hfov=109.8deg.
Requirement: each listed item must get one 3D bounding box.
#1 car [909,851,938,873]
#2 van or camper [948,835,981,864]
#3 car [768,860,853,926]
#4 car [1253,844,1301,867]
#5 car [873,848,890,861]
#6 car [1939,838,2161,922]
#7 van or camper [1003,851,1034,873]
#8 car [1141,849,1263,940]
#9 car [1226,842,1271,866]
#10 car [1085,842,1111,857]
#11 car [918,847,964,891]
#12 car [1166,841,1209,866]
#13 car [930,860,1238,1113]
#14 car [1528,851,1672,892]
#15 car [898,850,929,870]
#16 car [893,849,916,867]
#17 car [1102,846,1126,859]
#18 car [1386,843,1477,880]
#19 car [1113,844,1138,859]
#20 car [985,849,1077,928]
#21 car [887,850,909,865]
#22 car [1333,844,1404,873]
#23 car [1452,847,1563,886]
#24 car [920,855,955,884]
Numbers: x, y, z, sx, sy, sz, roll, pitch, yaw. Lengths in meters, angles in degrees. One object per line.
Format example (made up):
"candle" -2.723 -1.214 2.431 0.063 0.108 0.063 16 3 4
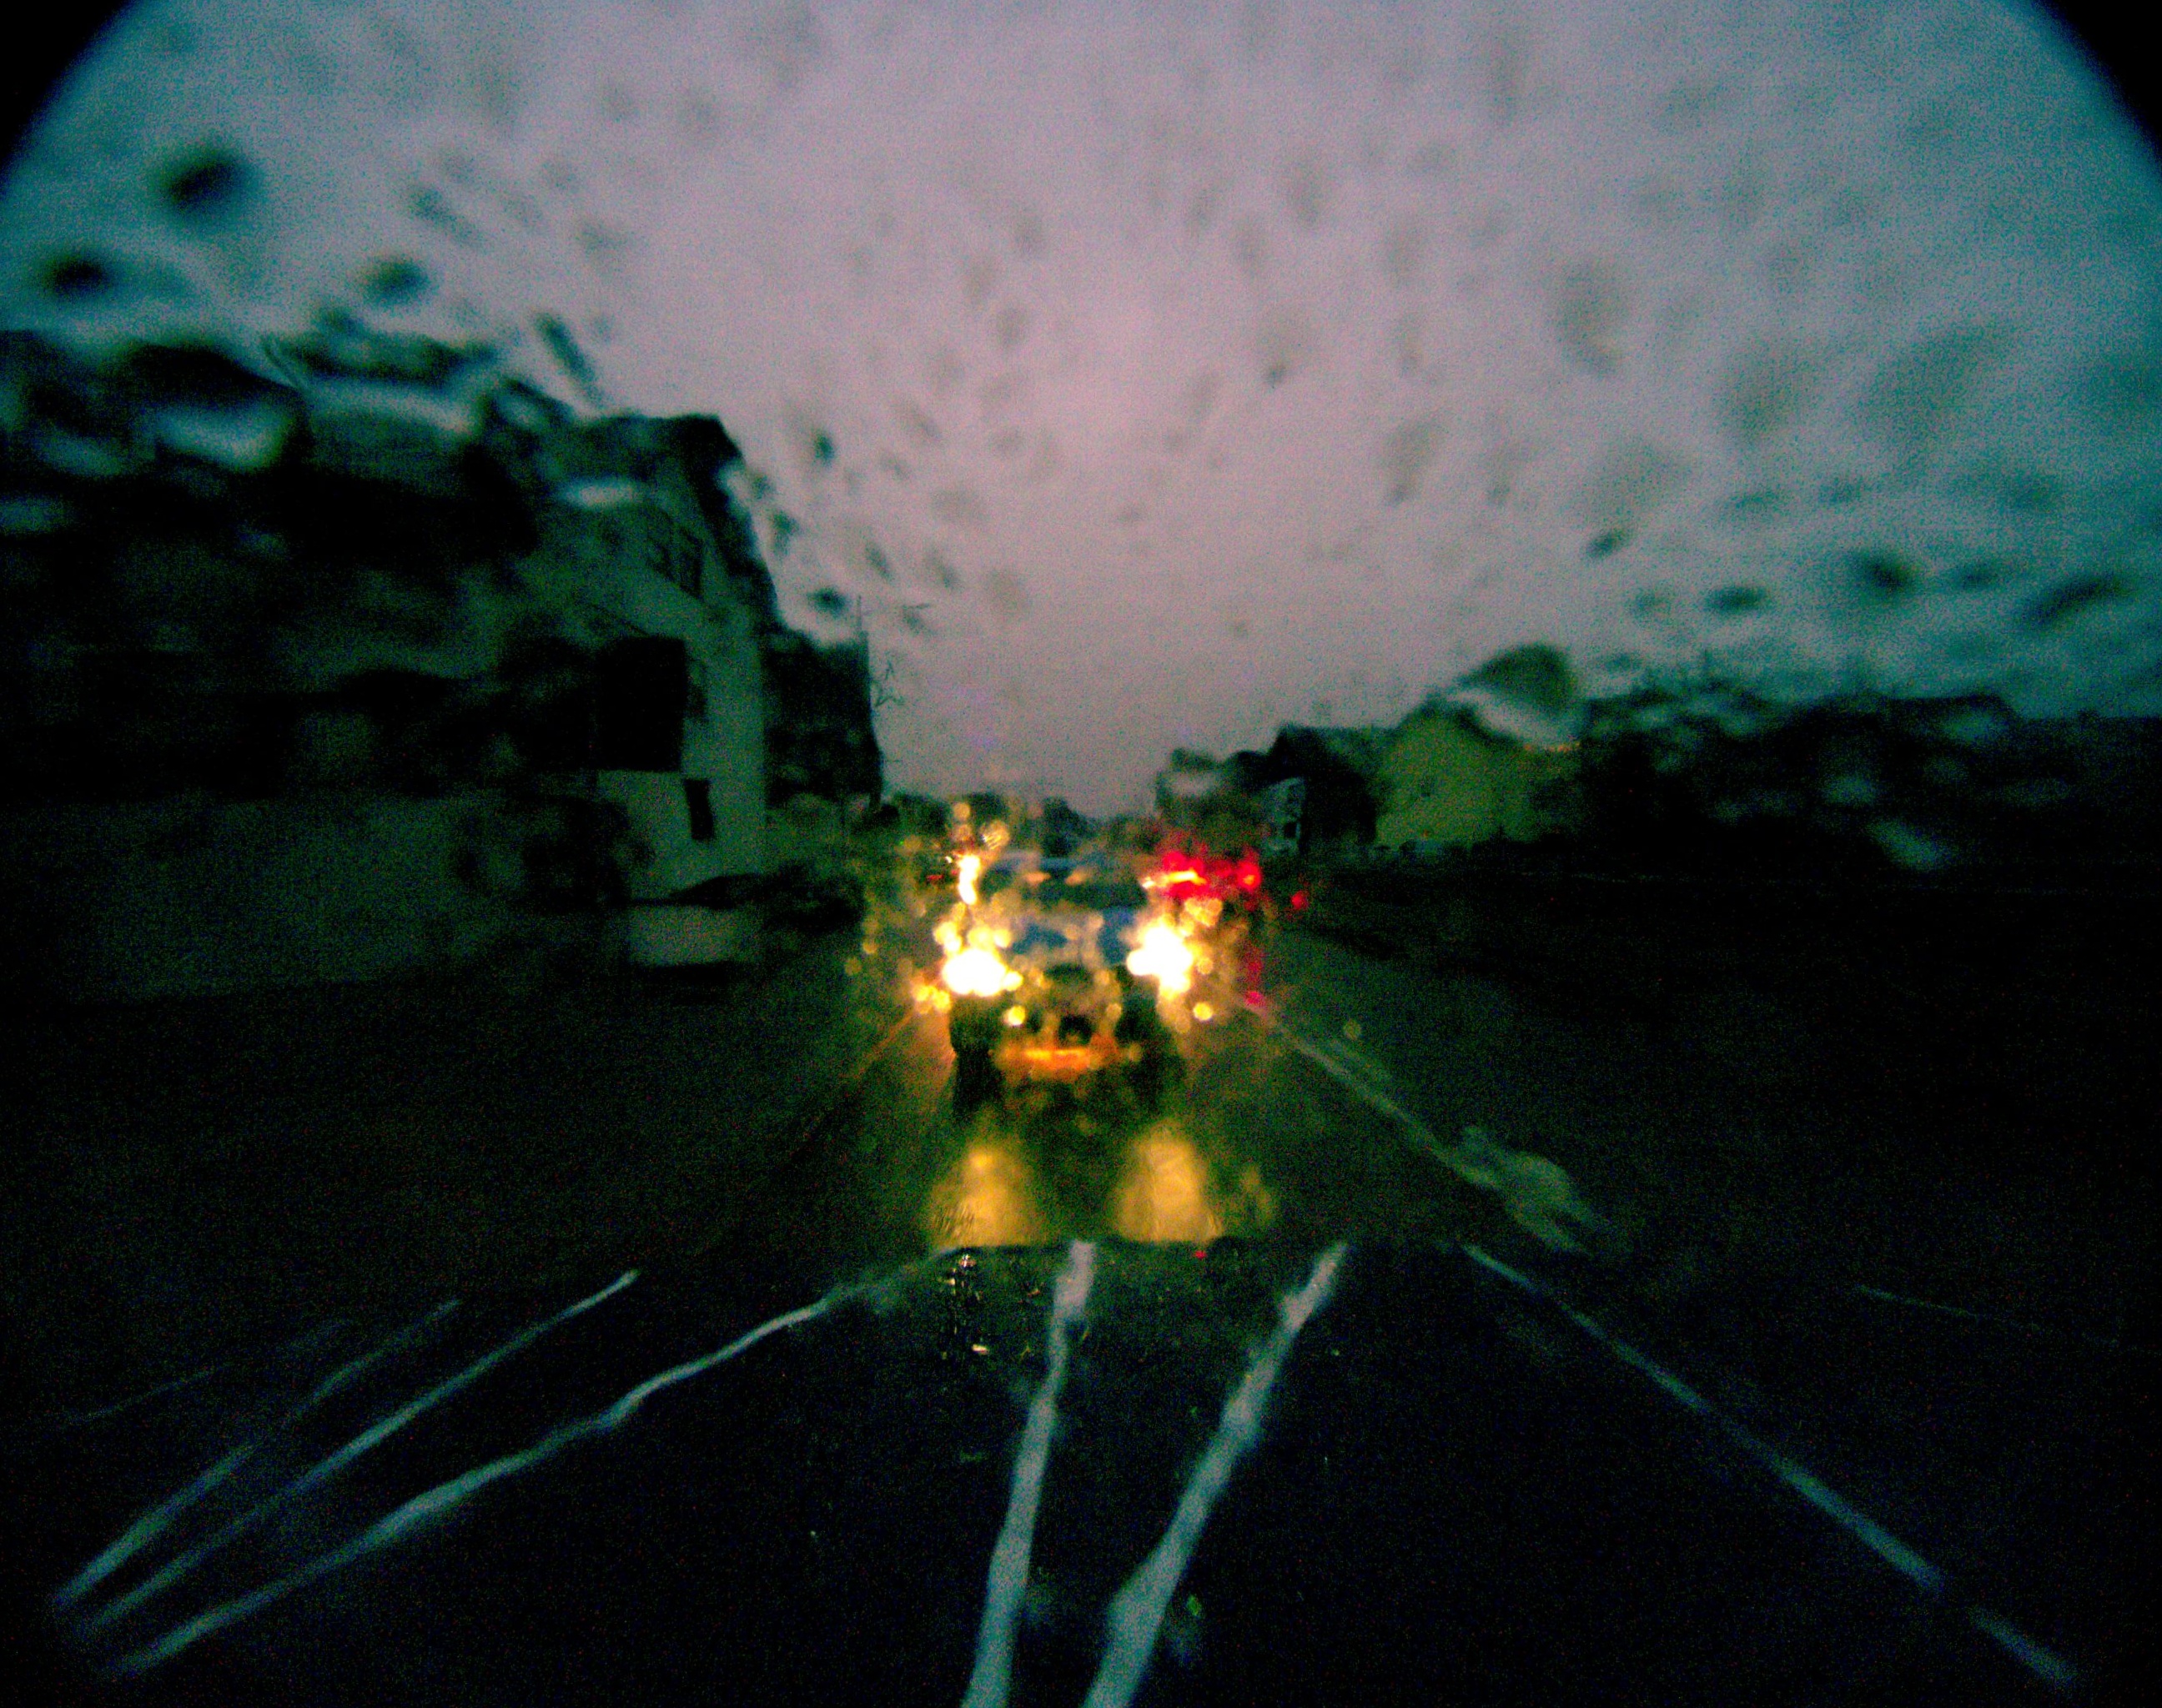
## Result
"car" -11.331 0.573 54.521 1.659 1.446 4.231 1 0 -16
"van or camper" -11.534 -0.451 74.953 2.249 2.653 6.544 -1 1 -17
"car" -6.621 0.890 18.833 1.772 1.385 3.907 1 0 -18
"car" 14.252 0.081 55.553 1.775 1.515 4.026 -1 1 -13
"car" -25.665 0.041 97.738 1.815 1.555 4.297 -1 1 -19
"car" 20.869 0.474 15.735 1.570 1.571 3.817 1 1 -9
"van or camper" -4.085 0.472 49.140 1.567 1.347 3.418 0 1 -11
"car" 2.379 0.735 15.914 1.742 1.643 3.999 -1 0 -3
"car" 13.076 -0.033 59.523 1.865 1.672 3.995 -4 2 -13
"car" 2.289 -0.573 103.258 2.001 1.894 4.350 -4 2 -19
"car" -6.066 0.626 33.273 1.775 1.771 3.996 1 0 -9
"car" 7.999 -0.048 57.621 1.806 1.793 3.854 -1 2 -16
"car" -0.102 0.900 7.108 1.999 1.526 3.998 -3 1 -4
"car" 19.308 0.613 28.534 1.880 1.425 4.497 0 0 -9
"car" -14.334 0.502 64.762 1.964 1.524 5.000 -4 2 -18
"car" -16.537 0.355 71.251 1.671 1.567 4.489 -1 1 -18
"car" 4.125 -0.213 96.157 1.903 1.509 3.994 -4 3 -13
"car" 17.650 0.346 38.555 1.880 1.768 4.496 0 0 -11
"car" 5.351 -0.347 91.188 1.823 1.615 3.980 -4 1 -13
"car" -1.392 0.754 19.125 1.907 1.630 4.563 -4 1 -7
"car" -19.051 0.344 79.035 1.710 1.443 4.184 -1 1 -20
"car" 16.655 0.269 44.214 1.880 1.589 4.220 0 0 -11
"car" 18.637 0.518 33.472 1.880 1.563 4.497 0 0 -9
"car" -7.385 0.757 38.930 1.651 1.407 2.724 1 0 -13
